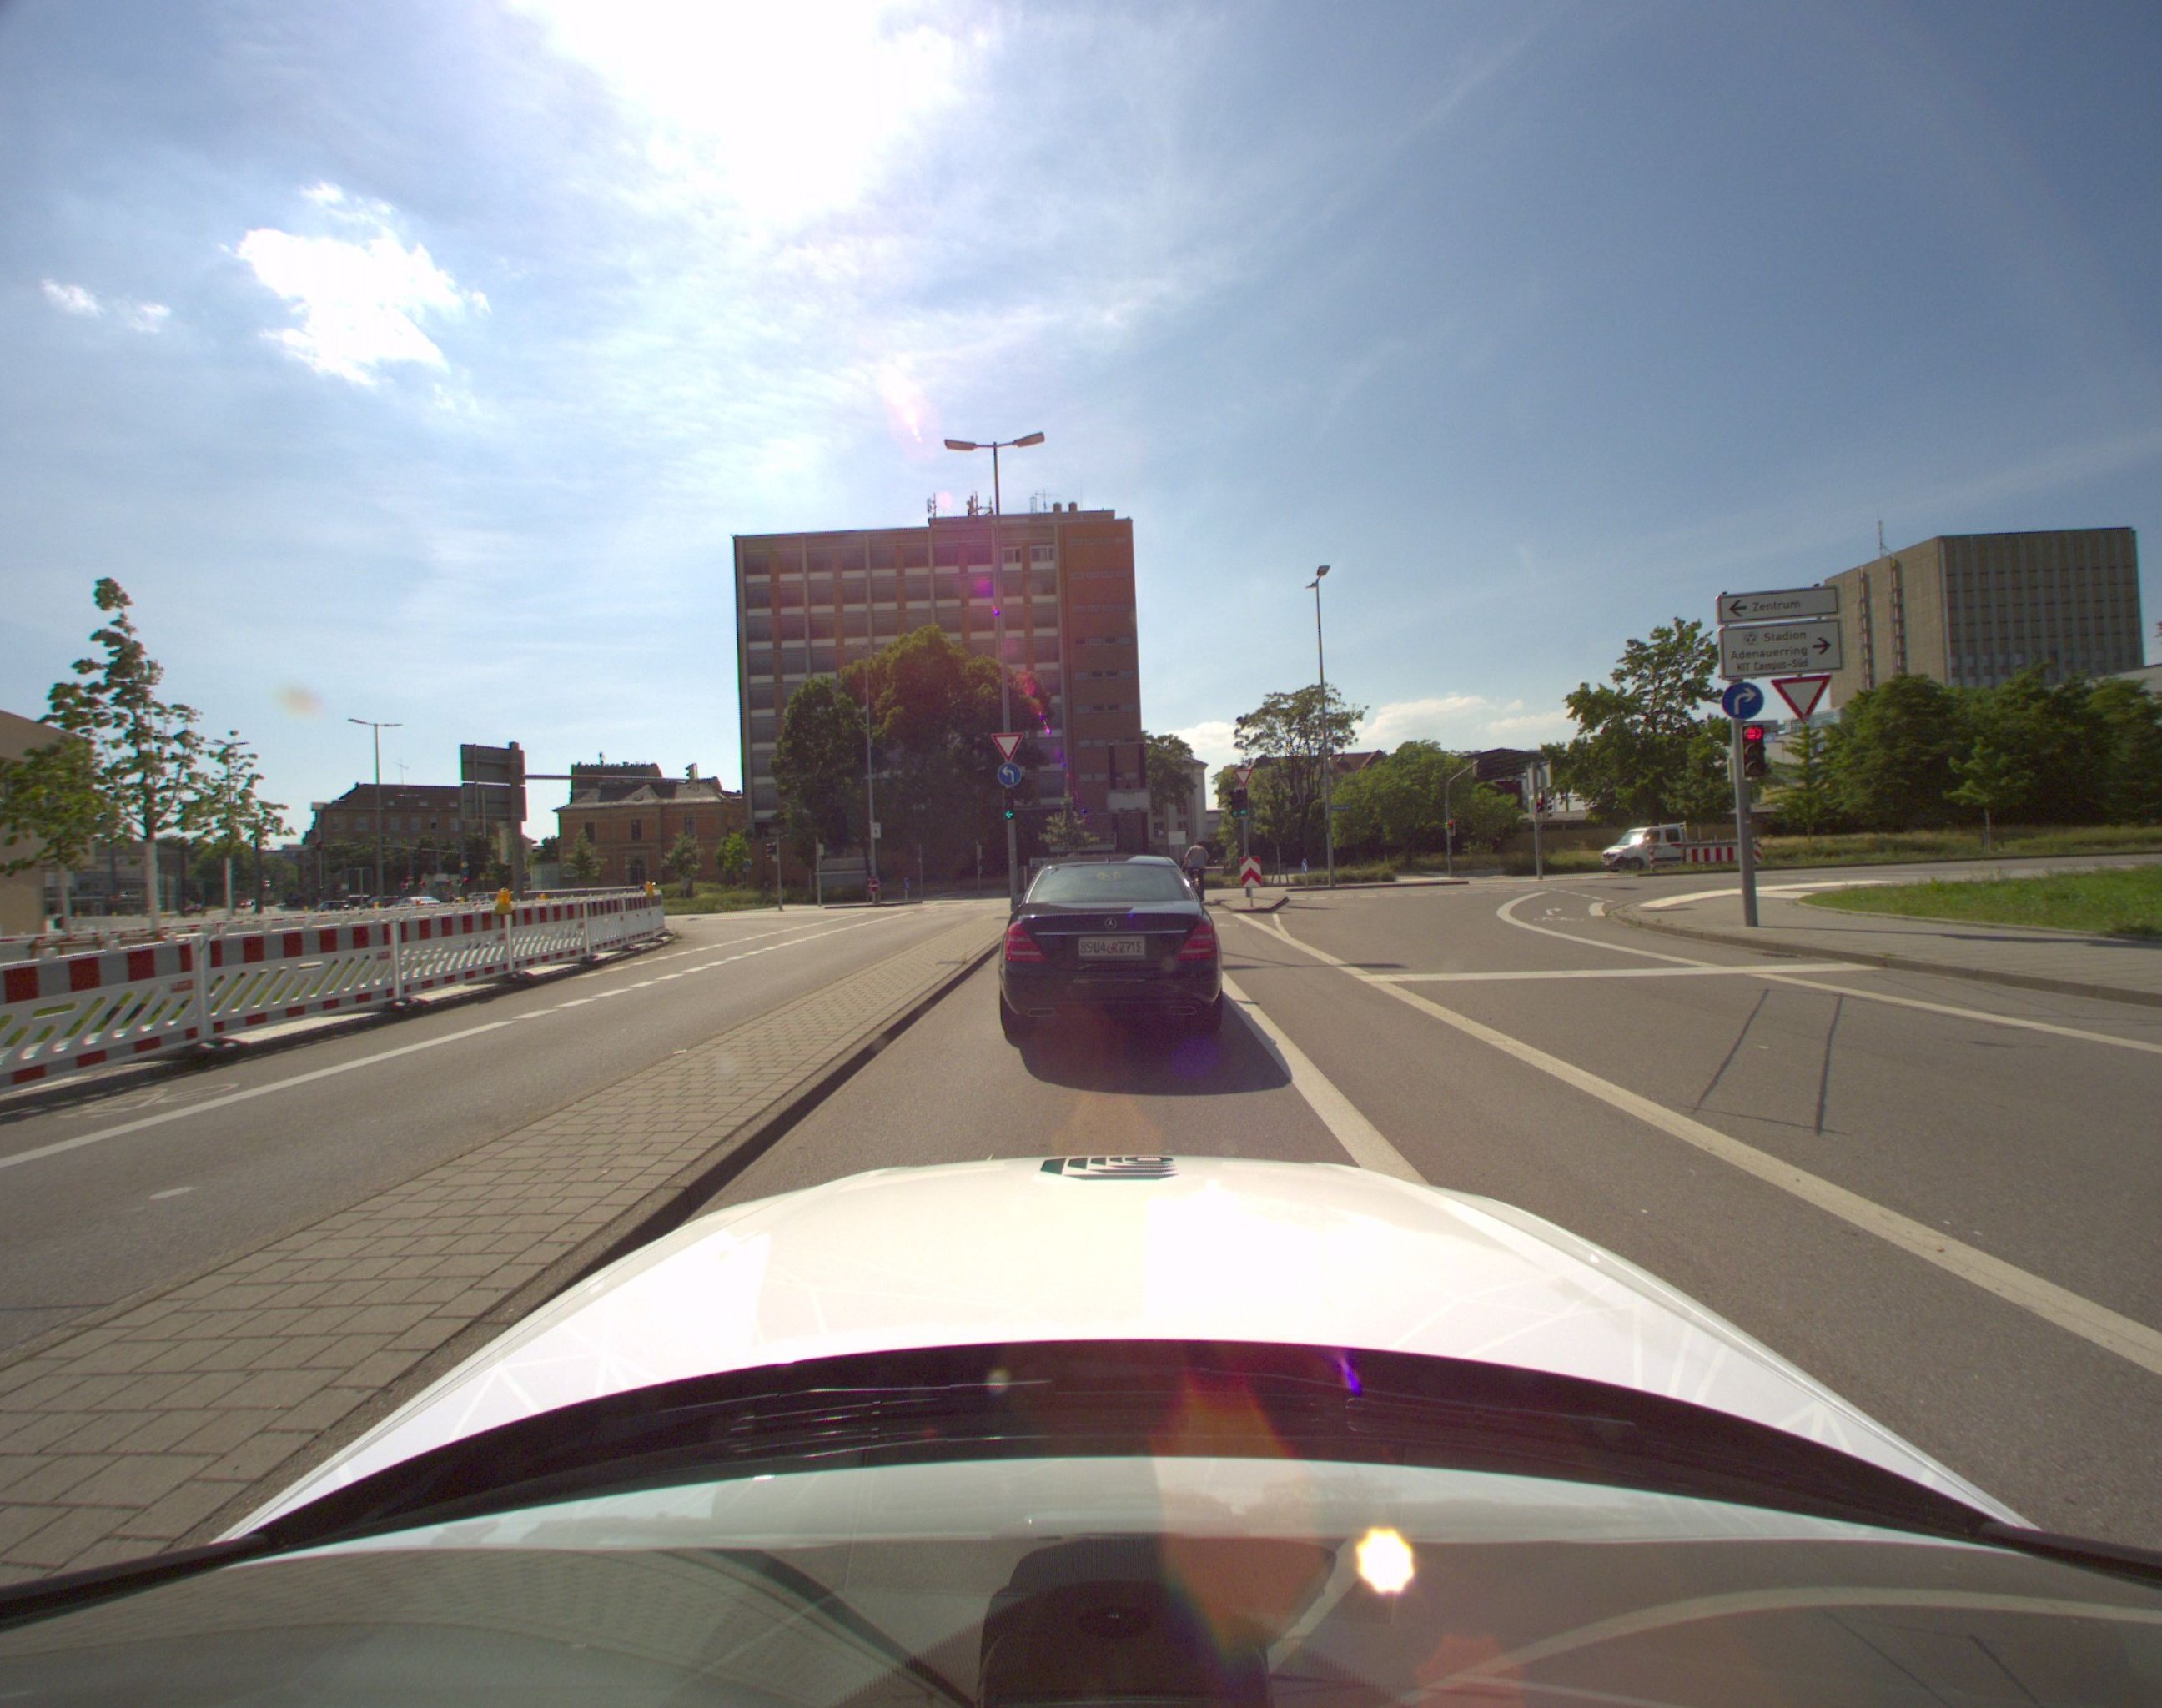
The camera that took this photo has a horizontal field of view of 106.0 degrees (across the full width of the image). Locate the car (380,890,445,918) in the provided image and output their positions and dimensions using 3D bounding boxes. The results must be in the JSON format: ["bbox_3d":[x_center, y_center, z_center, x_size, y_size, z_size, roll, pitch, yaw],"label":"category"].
[{"bbox_3d":[-47.987,3.574,58.450,3.951,1.816,2.011,-3,-1,24],"label":"car"}]

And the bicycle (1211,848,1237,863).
[{"bbox_3d":[16.806,0.174,95.870,2.813,1.659,0.842,-3,1,1],"label":"bicycle"}]

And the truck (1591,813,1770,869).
[{"bbox_3d":[29.893,-0.607,40.825,6.997,2.356,2.414,-3,-2,2],"label":"truck"}]

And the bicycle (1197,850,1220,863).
[{"bbox_3d":[16.621,0.297,105.891,2.812,1.480,0.842,-3,0,2],"label":"bicycle"}]

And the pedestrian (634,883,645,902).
[{"bbox_3d":[-39.106,3.432,72.150,0.642,1.661,0.654,-1,-1,28],"label":"pedestrian"}]

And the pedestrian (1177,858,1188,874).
[{"bbox_3d":[7.917,0.904,63.395,0.788,1.214,0.759,-1,-1,8],"label":"pedestrian"}]

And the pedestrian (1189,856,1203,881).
[{"bbox_3d":[7.448,0.921,52.804,0.807,1.579,0.693,-3,-1,3],"label":"pedestrian"}]

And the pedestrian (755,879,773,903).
[{"bbox_3d":[-23.614,2.762,60.623,0.790,1.725,0.878,-3,-1,24],"label":"pedestrian"}]

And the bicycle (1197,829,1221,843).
[{"bbox_3d":[16.082,-2.260,102.323,2.813,1.559,0.842,-3,0,1],"label":"bicycle"}]

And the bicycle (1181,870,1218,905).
[{"bbox_3d":[3.401,0.947,23.456,0.691,0.946,1.956,0,-1,-3],"label":"bicycle"}]

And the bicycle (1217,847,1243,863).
[{"bbox_3d":[17.049,0.131,93.365,2.813,1.744,0.842,-3,0,1],"label":"bicycle"}]

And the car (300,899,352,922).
[{"bbox_3d":[-55.661,4.195,60.058,3.948,1.510,1.811,-3,-1,32],"label":"car"}]

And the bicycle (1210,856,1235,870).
[{"bbox_3d":[16.967,1.043,97.855,2.813,1.537,0.842,-3,0,1],"label":"bicycle"}]

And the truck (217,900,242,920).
[{"bbox_3d":[-171.295,11.340,163.745,7.827,3.730,3.093,-4,-1,41],"label":"truck"}]

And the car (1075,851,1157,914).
[{"bbox_3d":[0.906,0.715,21.816,1.986,1.508,4.001,0,-1,2],"label":"car"}]

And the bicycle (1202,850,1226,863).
[{"bbox_3d":[16.971,0.294,104.136,2.813,1.500,0.842,-3,0,1],"label":"bicycle"}]

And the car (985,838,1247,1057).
[{"bbox_3d":[0.269,0.686,8.163,1.852,1.530,4.713,-1,-1,0],"label":"car"}]

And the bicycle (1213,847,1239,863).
[{"bbox_3d":[16.826,0.135,94.849,2.813,1.649,0.842,-3,0,1],"label":"bicycle"}]

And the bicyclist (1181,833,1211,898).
[{"bbox_3d":[3.365,0.331,23.927,0.684,1.878,0.859,-1,-1,-3],"label":"bicyclist"}]
